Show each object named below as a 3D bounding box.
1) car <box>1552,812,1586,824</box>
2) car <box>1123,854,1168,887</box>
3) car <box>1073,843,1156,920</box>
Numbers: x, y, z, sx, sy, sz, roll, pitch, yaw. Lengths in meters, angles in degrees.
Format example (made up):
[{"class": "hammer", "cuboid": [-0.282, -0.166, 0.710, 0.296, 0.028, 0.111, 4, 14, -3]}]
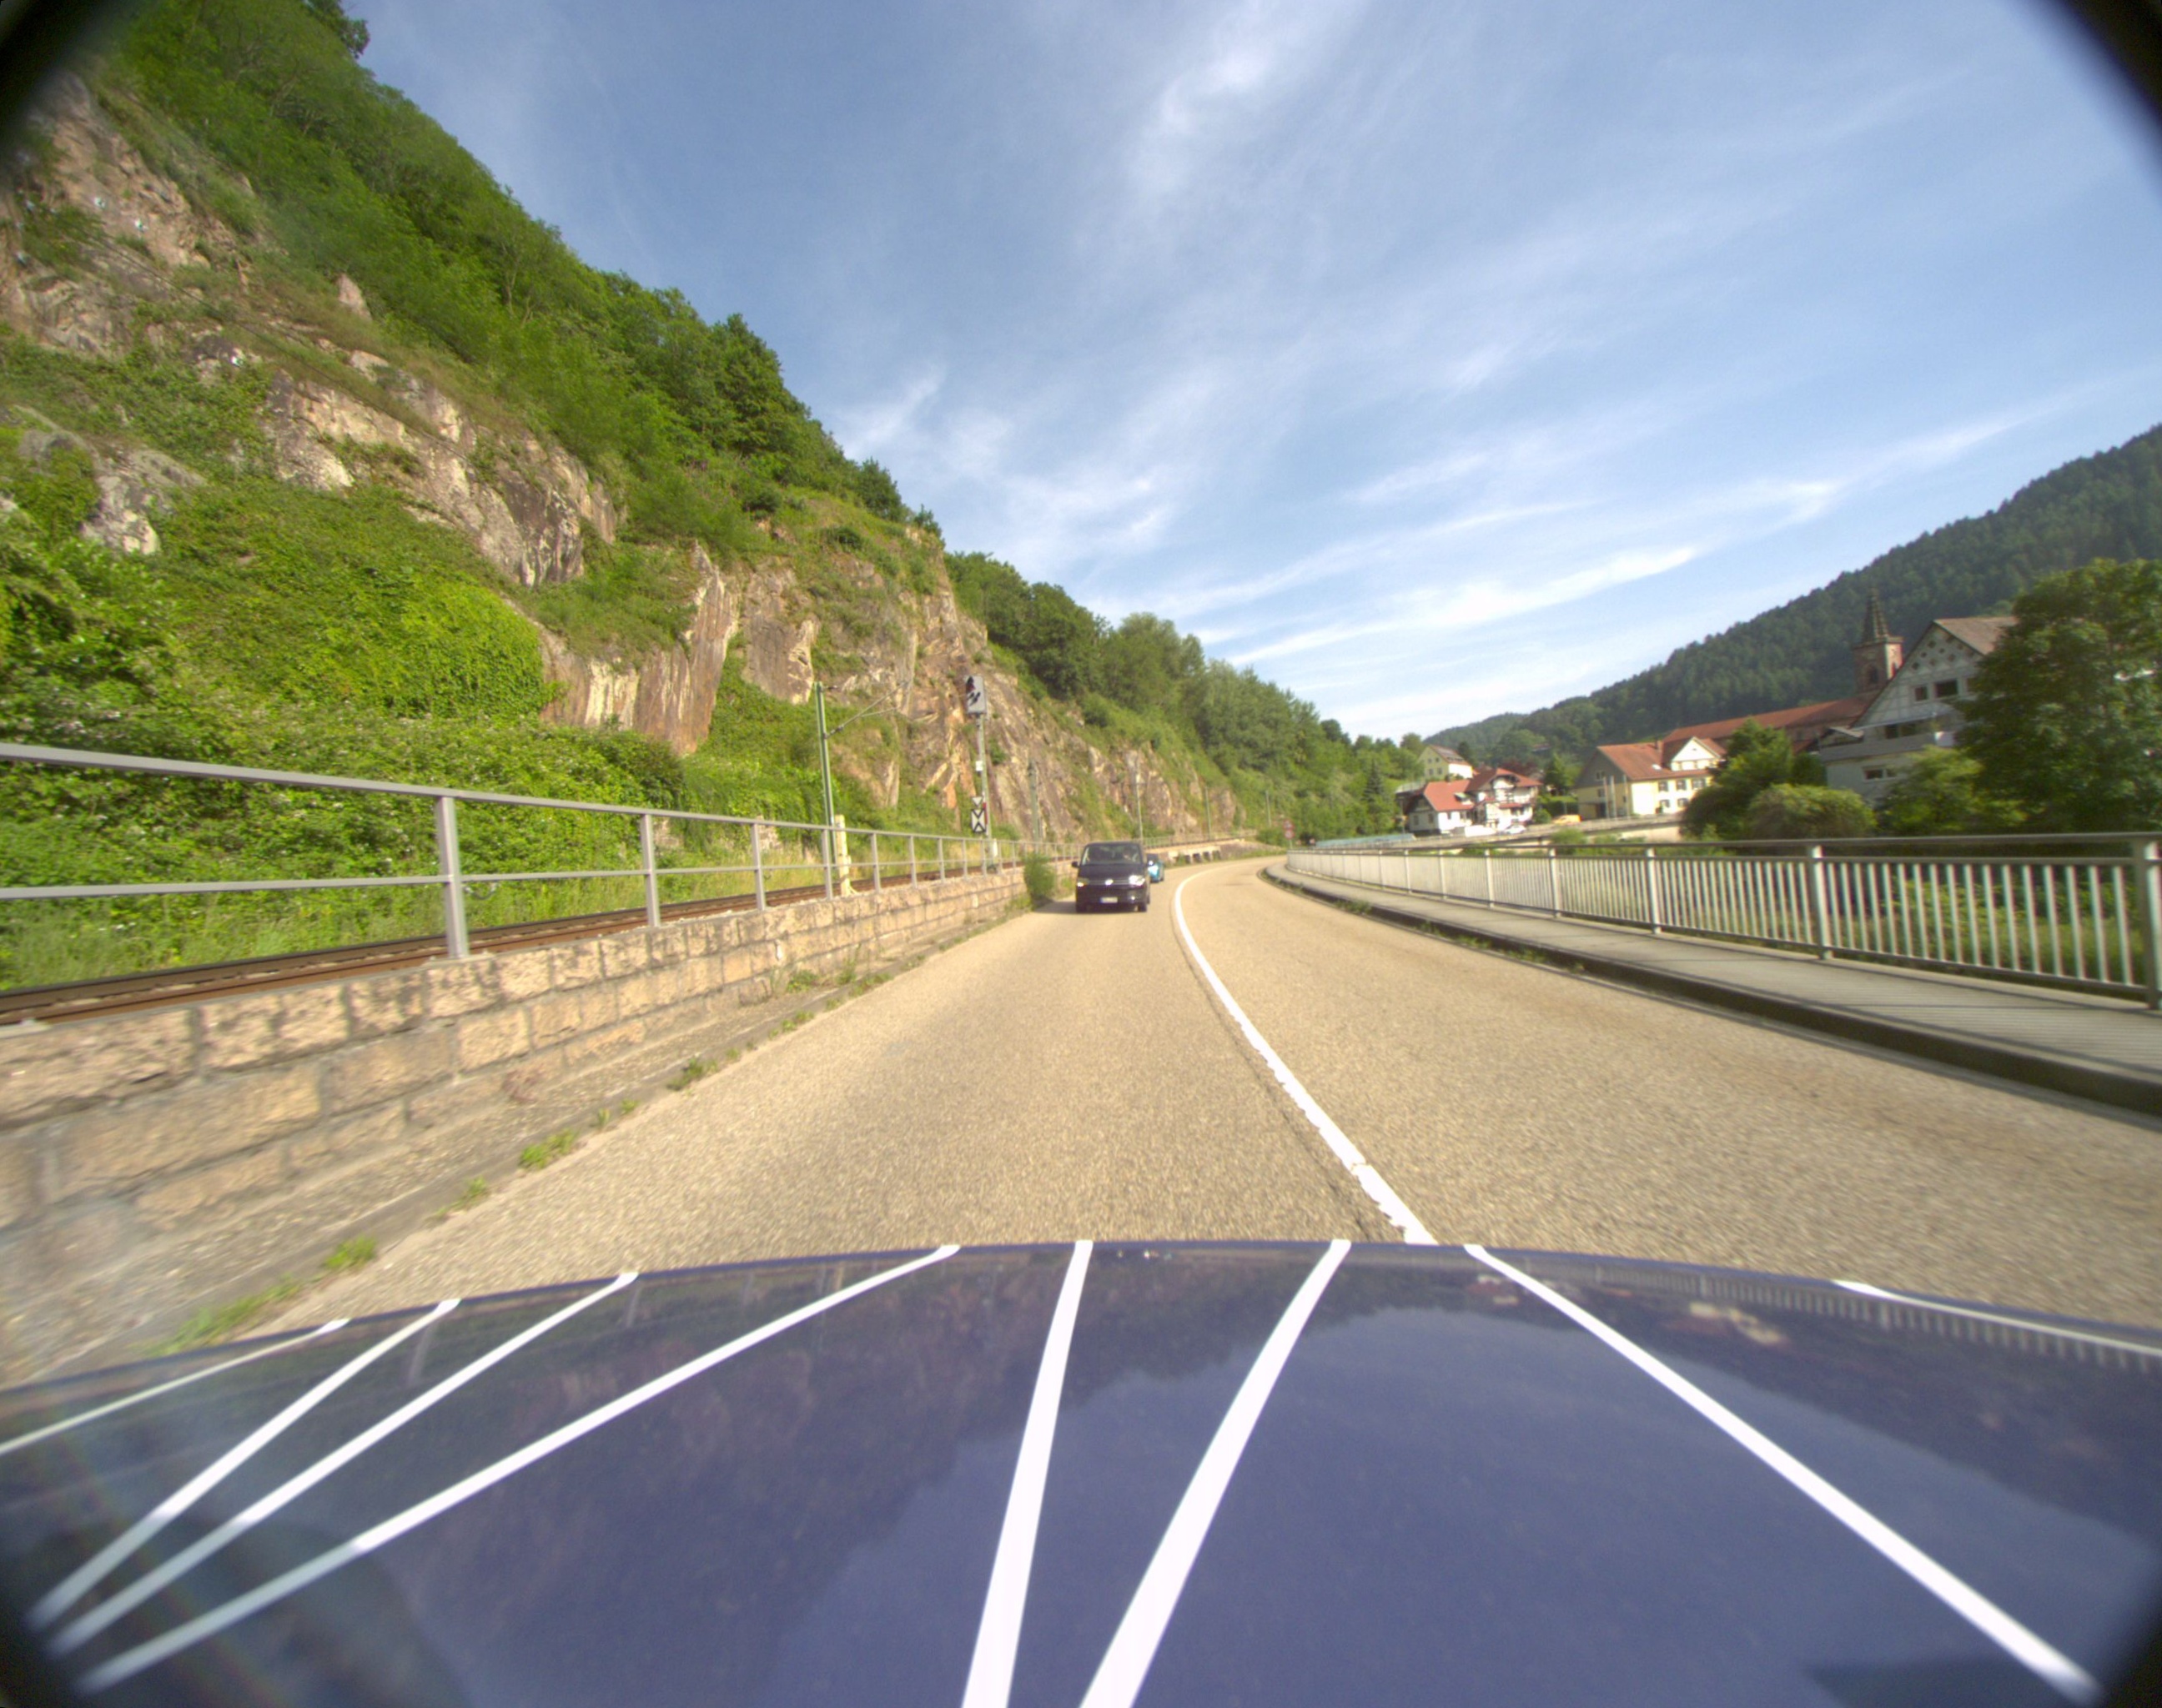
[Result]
[{"class": "car", "cuboid": [83.108, -6.131, 129.503, 4.835, 1.986, 1.913, -1, 1, -9]}, {"class": "car", "cuboid": [3.376, 0.804, 39.099, 1.681, 1.513, 3.869, -3, 0, 13]}, {"class": "car", "cuboid": [1.086, 0.692, 21.902, 1.886, 1.952, 4.869, 0, 0, 8]}]
